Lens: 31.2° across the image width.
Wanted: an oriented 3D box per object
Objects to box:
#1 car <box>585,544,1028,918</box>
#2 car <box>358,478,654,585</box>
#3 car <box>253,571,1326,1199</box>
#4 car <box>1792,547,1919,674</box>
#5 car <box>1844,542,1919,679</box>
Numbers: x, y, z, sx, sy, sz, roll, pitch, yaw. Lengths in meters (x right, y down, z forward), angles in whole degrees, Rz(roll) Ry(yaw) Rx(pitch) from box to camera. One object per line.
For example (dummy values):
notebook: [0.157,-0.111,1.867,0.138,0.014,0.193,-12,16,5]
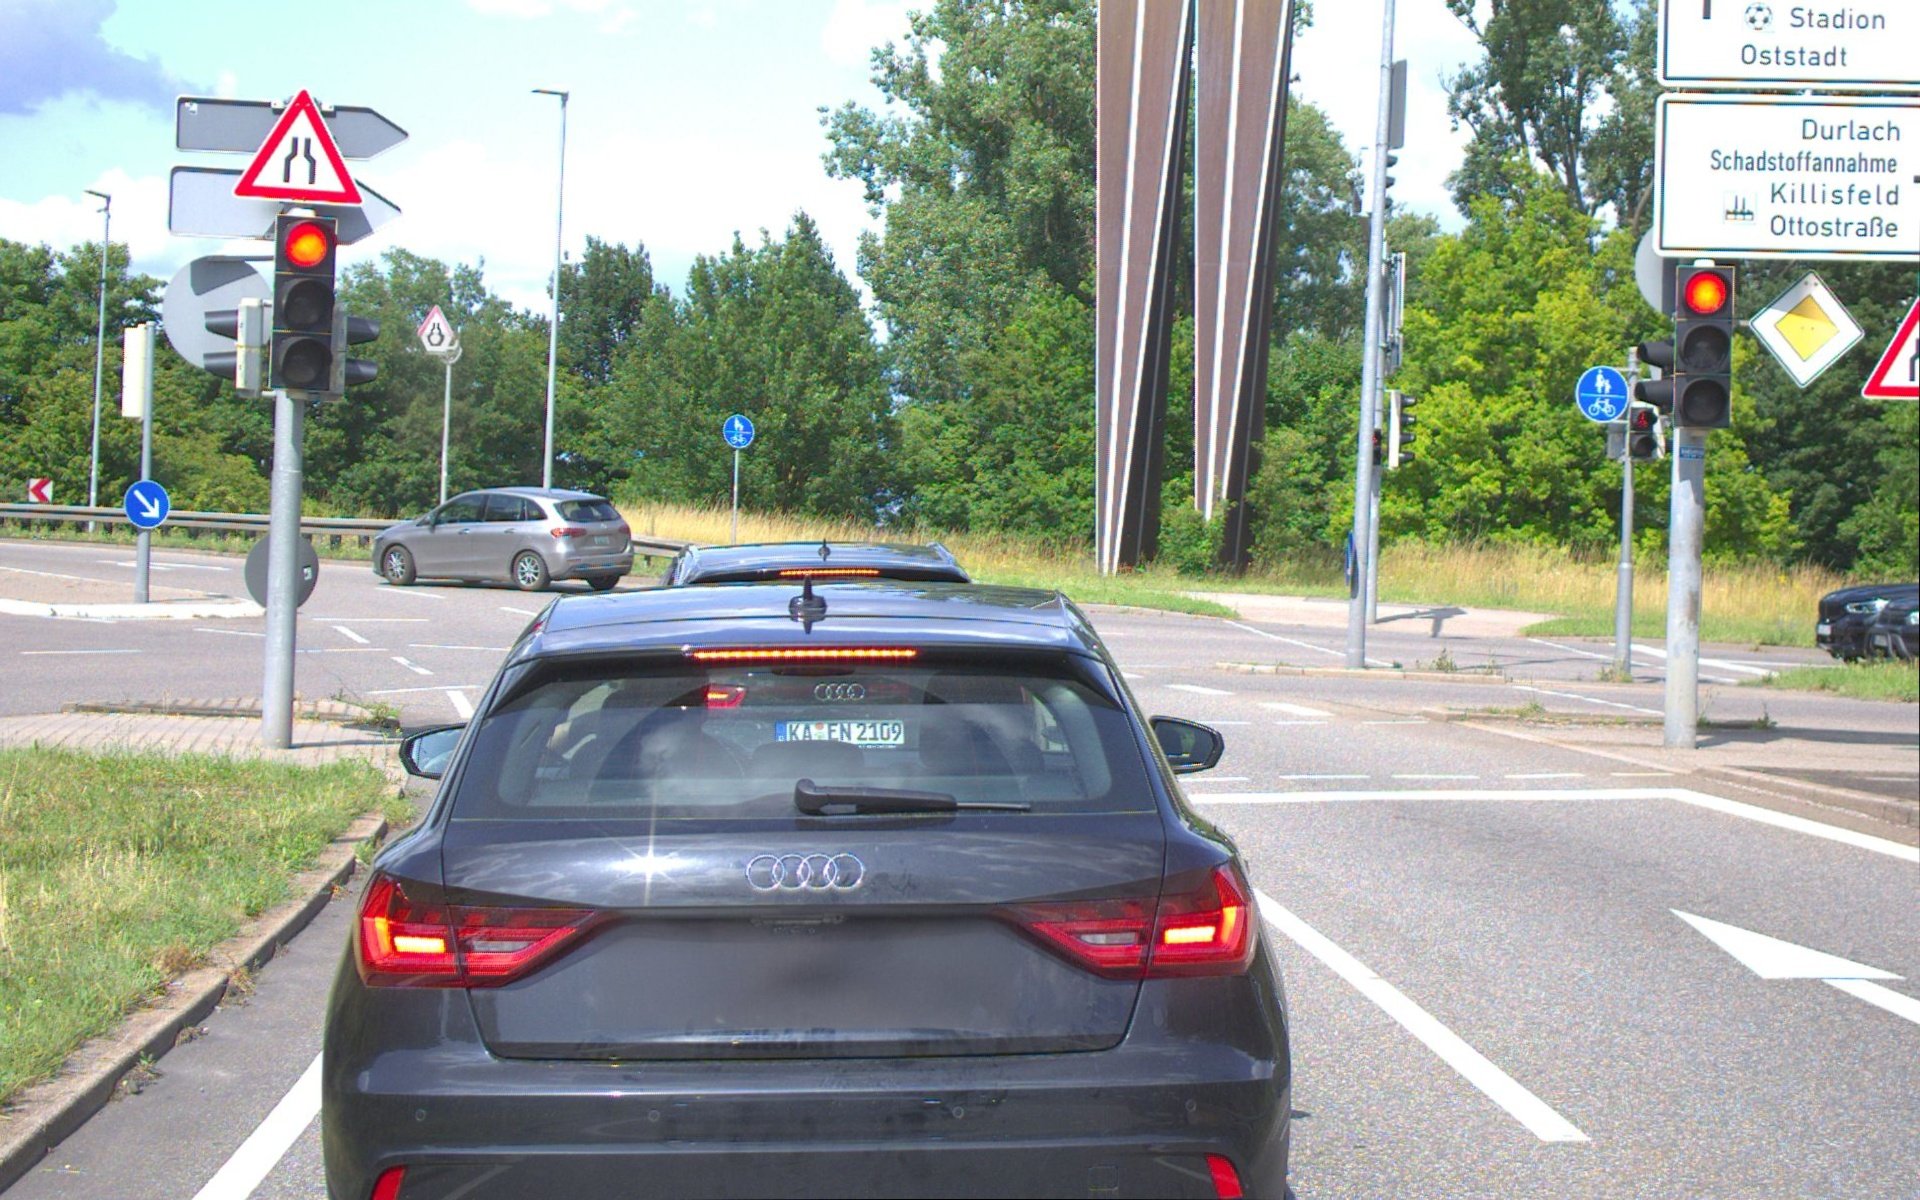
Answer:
car: [-0.752,0.479,15.343,1.726,1.418,3.845,0,1,-5]
car: [-6.953,-1.058,52.620,4.113,1.491,1.996,3,1,31]
car: [-0.296,0.671,7.544,1.726,1.399,4.000,0,1,-1]
car: [13.254,0.167,43.740,4.847,1.539,1.737,2,1,-1]
car: [12.645,0.166,39.886,4.268,1.539,1.737,2,1,-1]
